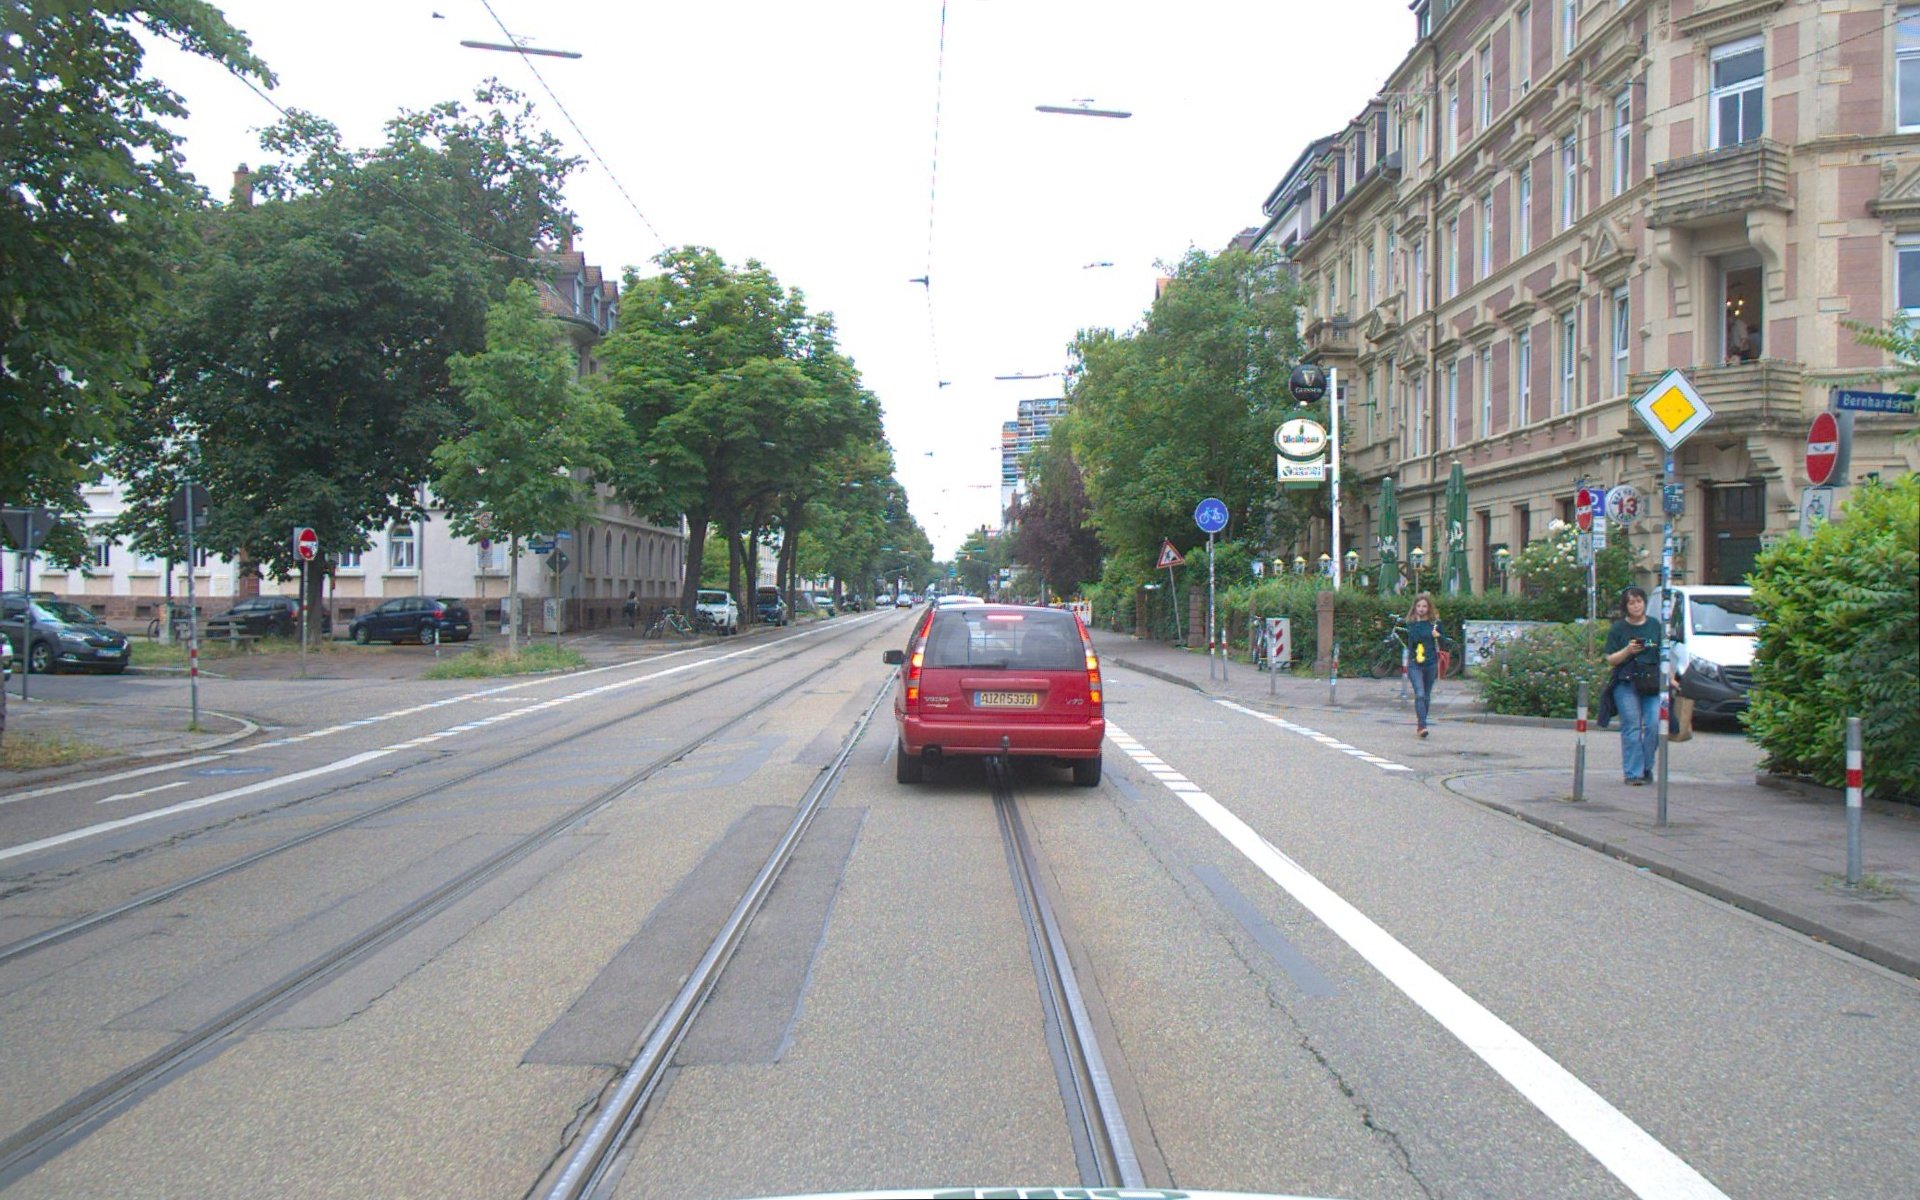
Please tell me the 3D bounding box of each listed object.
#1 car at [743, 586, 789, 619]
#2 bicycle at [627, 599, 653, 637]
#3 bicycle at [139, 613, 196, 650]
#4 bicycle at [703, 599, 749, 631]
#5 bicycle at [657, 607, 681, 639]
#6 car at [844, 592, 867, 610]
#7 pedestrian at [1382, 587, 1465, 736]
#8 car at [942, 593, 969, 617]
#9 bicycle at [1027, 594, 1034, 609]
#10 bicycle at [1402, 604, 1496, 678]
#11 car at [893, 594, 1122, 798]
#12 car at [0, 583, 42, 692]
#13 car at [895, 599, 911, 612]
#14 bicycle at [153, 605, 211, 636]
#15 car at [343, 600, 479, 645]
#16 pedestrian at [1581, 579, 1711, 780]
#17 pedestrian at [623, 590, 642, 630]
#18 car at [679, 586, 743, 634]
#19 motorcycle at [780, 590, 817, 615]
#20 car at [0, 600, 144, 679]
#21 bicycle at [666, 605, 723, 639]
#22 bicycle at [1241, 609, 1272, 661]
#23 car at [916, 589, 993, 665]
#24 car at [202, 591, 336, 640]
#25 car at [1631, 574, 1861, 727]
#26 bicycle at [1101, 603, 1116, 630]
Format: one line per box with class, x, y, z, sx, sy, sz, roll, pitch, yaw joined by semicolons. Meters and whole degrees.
car;-9.480;0.096;81.030;1.741;1.537;4.237;1;0;0
bicycle;-10.308;0.575;53.208;0.663;1.155;1.928;0;1;-16
bicycle;-20.904;0.831;43.617;1.637;0.941;0.448;0;0;28
bicycle;-9.580;0.617;67.590;1.706;1.213;0.653;2;0;14
bicycle;-9.276;0.726;52.702;0.473;0.975;1.398;0;0;1
car;-9.355;0.102;148.130;1.813;1.590;3.942;1;0;-1
pedestrian;5.404;0.701;19.330;0.854;1.685;0.909;0;0;12
car;-0.321;0.372;115.381;1.706;1.634;3.998;1;0;-3
bicycle;6.761;0.133;158.879;0.540;1.424;1.734;0;0;0
bicycle;8.750;0.725;29.638;1.570;1.299;0.513;0;0;11
car;0.330;0.700;14.056;1.654;1.466;3.742;1;0;-1
car;-16.998;0.576;26.170;4.409;1.692;1.939;0;0;21
car;-6.408;0.626;186.327;1.720;1.404;4.025;0;0;-1
bicycle;-27.513;0.716;58.464;2.141;1.053;0.653;1;0;27
car;-16.591;0.658;49.988;3.673;1.330;1.741;0;0;23
pedestrian;5.875;0.668;14.210;0.776;1.665;0.836;-1;0;4
pedestrian;-12.265;0.361;61.920;0.553;1.493;0.722;0;0;0
car;-9.314;0.361;62.102;1.859;1.684;4.224;1;0;-2
motorcycle;-10.071;0.157;103.168;2.226;1.538;0.923;0;-2;35
car;-18.187;0.748;32.747;3.980;1.435;1.659;1;0;28
bicycle;-9.323;0.766;58.082;1.883;1.140;0.624;2;0;-1
bicycle;6.316;0.730;35.312;0.295;1.060;1.848;0;0;-1
car;-0.087;0.595;38.582;1.683;1.653;3.941;1;0;1
car;-21.900;0.472;52.450;3.852;1.489;1.706;0;0;22
car;10.951;0.616;23.440;2.008;1.910;5.033;0;0;14
bicycle;5.923;0.652;66.113;0.469;1.063;1.531;0;0;0
